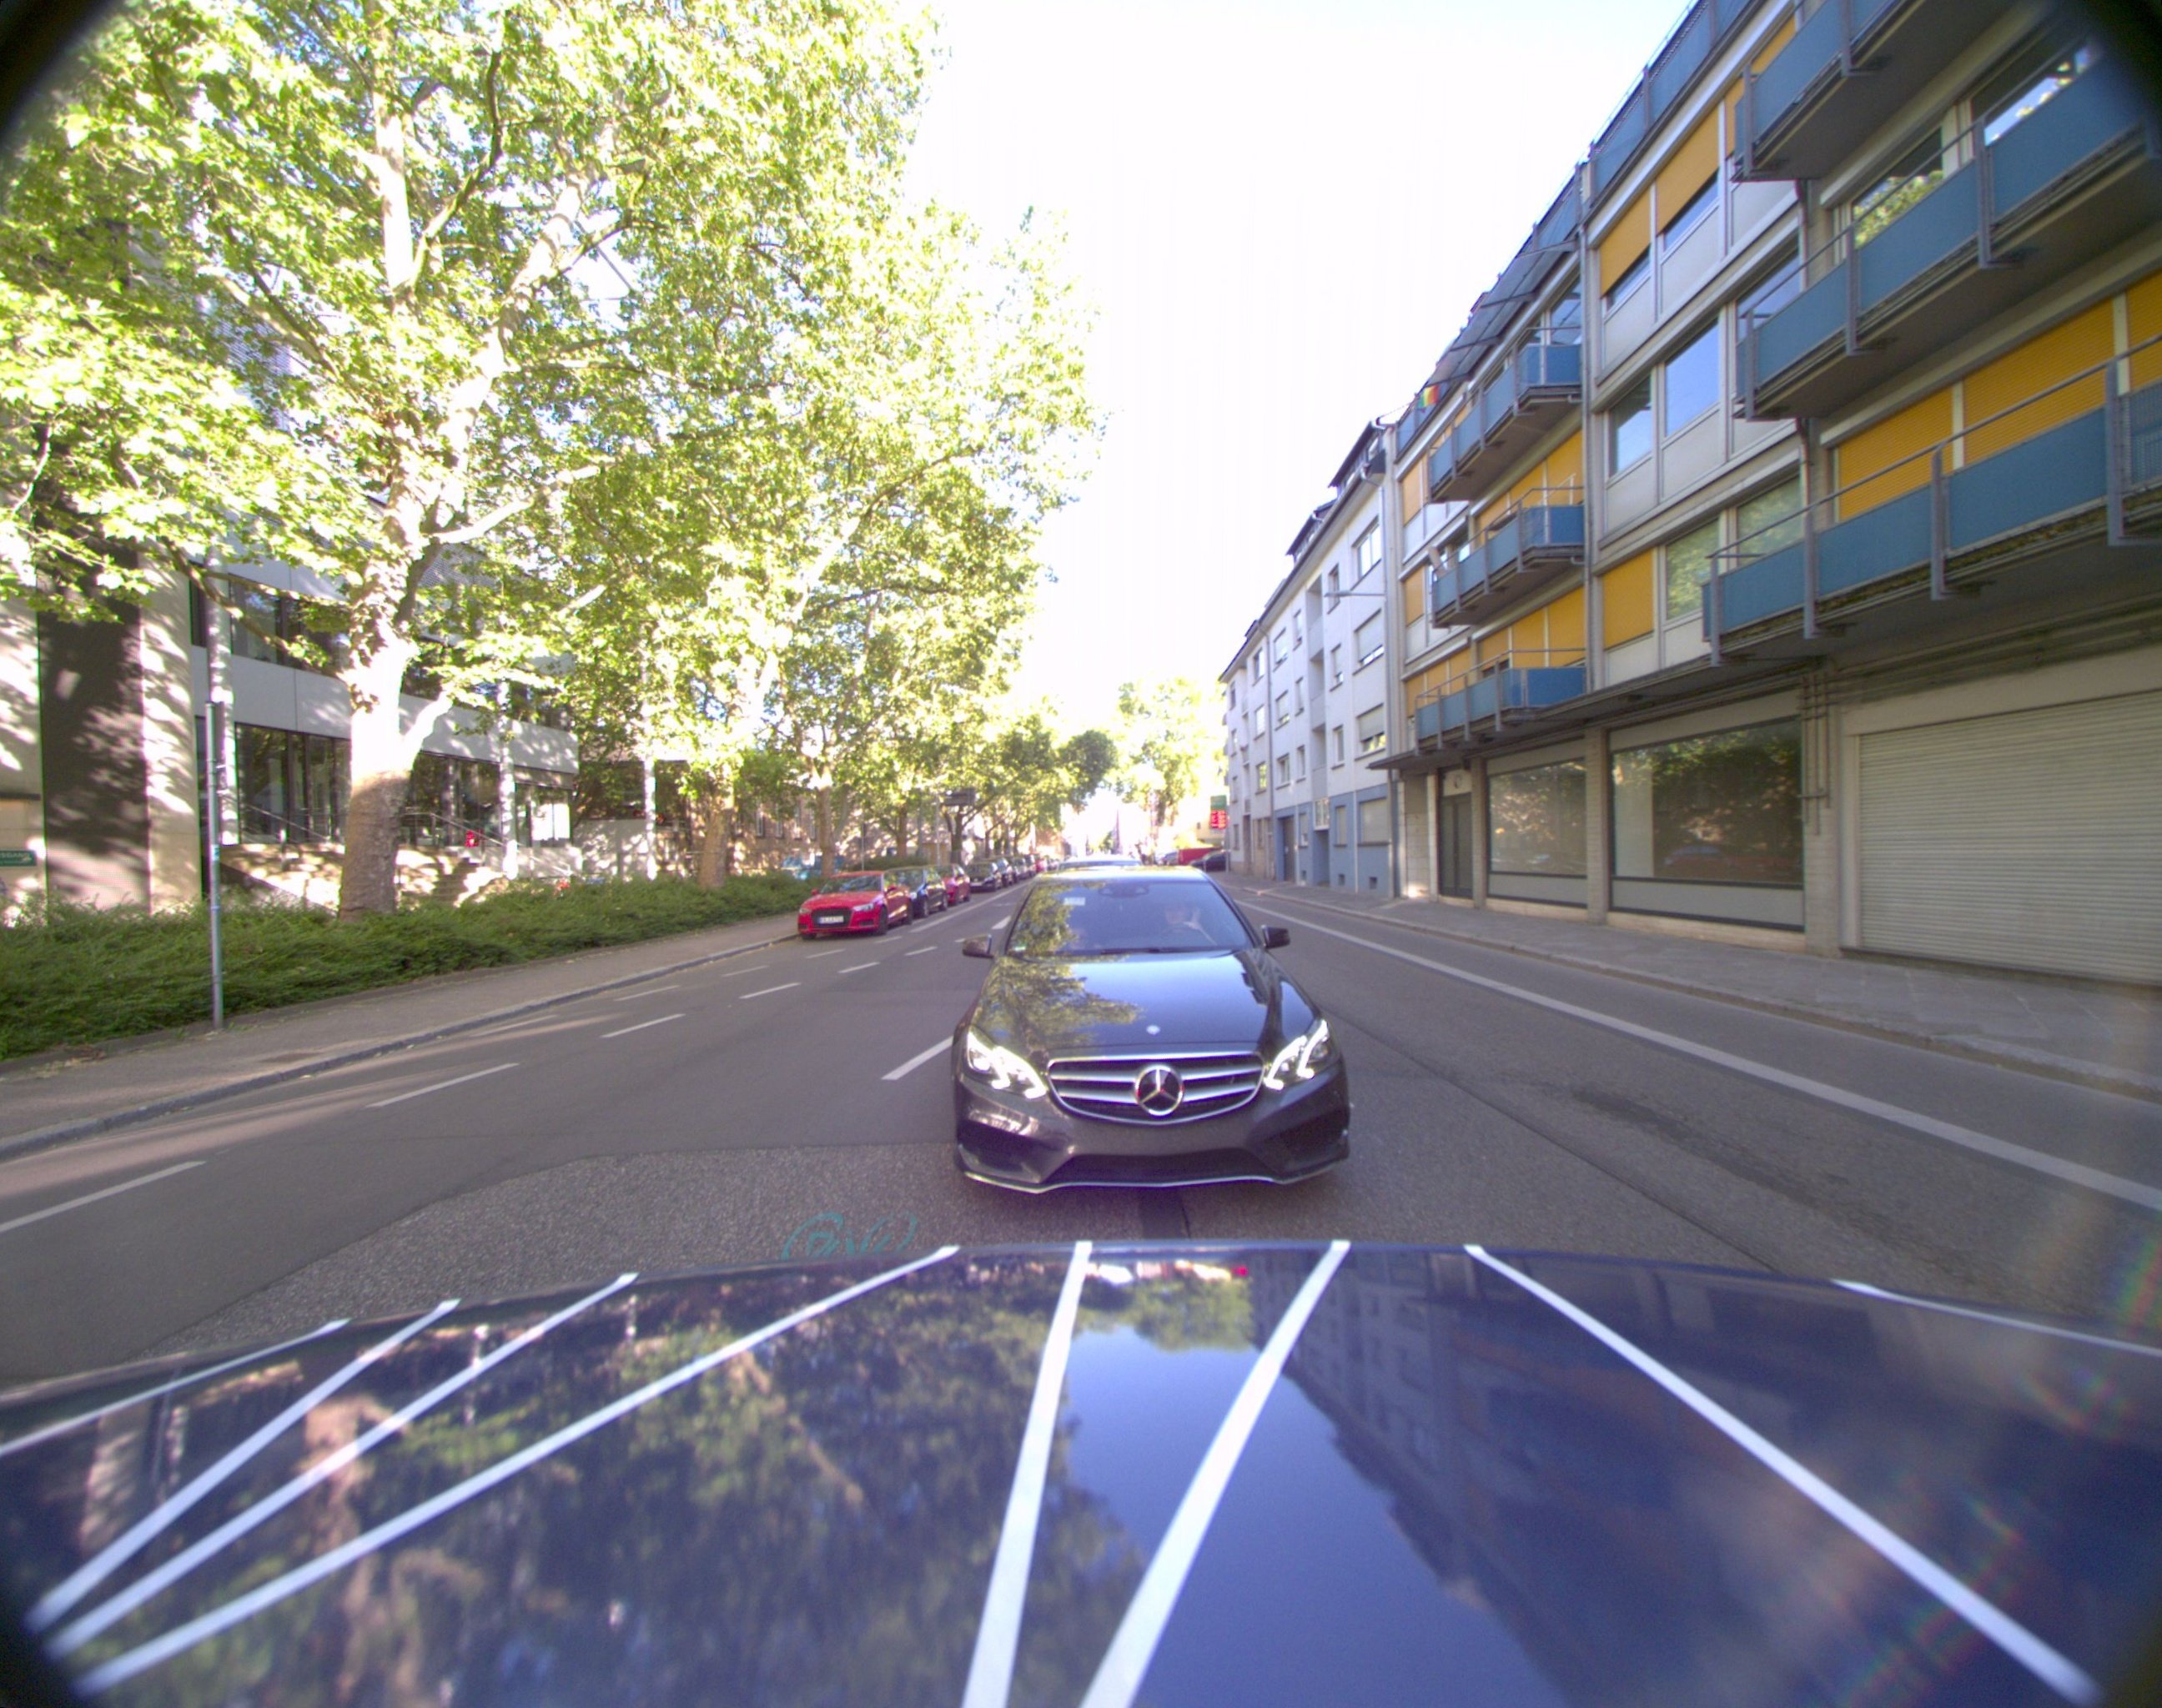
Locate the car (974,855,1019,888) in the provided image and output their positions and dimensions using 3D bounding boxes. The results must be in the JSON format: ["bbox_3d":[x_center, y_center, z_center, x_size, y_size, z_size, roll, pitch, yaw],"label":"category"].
[{"bbox_3d":[-4.620,0.908,42.195,1.866,1.658,4.481,-2,0,1],"label":"car"}]

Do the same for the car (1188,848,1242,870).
[{"bbox_3d":[10.717,0.379,61.180,3.996,1.543,2.000,-2,1,2],"label":"car"}]

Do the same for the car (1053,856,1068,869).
[{"bbox_3d":[-2.820,1.114,105.178,1.866,1.632,4.481,-2,0,1],"label":"car"}]

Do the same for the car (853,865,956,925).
[{"bbox_3d":[-5.043,1.125,22.369,1.866,1.442,4.481,-2,0,1],"label":"car"}]

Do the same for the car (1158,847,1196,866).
[{"bbox_3d":[10.738,0.244,84.967,3.996,1.936,2.000,-2,1,2],"label":"car"}]

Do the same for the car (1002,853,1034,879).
[{"bbox_3d":[-4.502,0.820,54.788,1.866,1.749,4.481,-2,0,1],"label":"car"}]

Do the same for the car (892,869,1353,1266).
[{"bbox_3d":[0.204,0.934,5.395,1.866,1.492,4.481,-2,0,1],"label":"car"}]

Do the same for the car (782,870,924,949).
[{"bbox_3d":[-5.104,1.178,17.719,1.866,1.442,4.481,-2,0,1],"label":"car"}]

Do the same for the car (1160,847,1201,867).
[{"bbox_3d":[10.462,0.310,79.985,3.996,1.936,2.000,-2,1,2],"label":"car"}]

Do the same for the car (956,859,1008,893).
[{"bbox_3d":[-4.755,1.026,37.160,1.866,1.442,4.481,-2,0,1],"label":"car"}]

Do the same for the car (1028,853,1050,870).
[{"bbox_3d":[-4.197,0.706,76.266,1.866,1.632,4.481,-2,0,1],"label":"car"}]

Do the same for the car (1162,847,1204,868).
[{"bbox_3d":[10.334,0.347,77.134,3.996,1.936,2.000,-2,1,2],"label":"car"}]

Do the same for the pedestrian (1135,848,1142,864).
[{"bbox_3d":[7.766,0.267,103.052,0.735,2.002,1.046,-2,1,0],"label":"pedestrian"}]

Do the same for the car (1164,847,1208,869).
[{"bbox_3d":[10.249,0.379,74.492,3.996,1.936,2.000,-2,1,2],"label":"car"}]

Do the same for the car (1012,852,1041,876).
[{"bbox_3d":[-4.244,0.757,59.744,1.866,1.749,4.481,-2,0,1],"label":"car"}]

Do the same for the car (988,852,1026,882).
[{"bbox_3d":[-4.632,0.785,48.121,1.866,1.749,4.481,-2,0,1],"label":"car"}]

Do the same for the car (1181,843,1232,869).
[{"bbox_3d":[10.550,0.157,64.011,3.996,1.936,2.000,-2,1,2],"label":"car"}]

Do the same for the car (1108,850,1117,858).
[{"bbox_3d":[6.858,0.045,167.619,1.866,1.632,4.481,-2,0,1],"label":"car"}]

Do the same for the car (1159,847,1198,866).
[{"bbox_3d":[10.592,0.277,82.473,3.996,1.936,2.000,-2,1,2],"label":"car"}]

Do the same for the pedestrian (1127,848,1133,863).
[{"bbox_3d":[6.626,0.196,102.715,0.735,2.002,0.797,-2,1,1],"label":"pedestrian"}]

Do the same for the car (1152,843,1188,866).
[{"bbox_3d":[10.491,0.006,89.494,3.996,2.505,2.000,-2,1,2],"label":"car"}]

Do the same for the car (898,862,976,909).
[{"bbox_3d":[-5.087,1.066,27.413,1.866,1.442,4.481,-2,0,1],"label":"car"}]

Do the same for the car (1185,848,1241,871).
[{"bbox_3d":[10.176,0.425,58.858,3.996,1.543,2.000,-2,1,2],"label":"car"}]

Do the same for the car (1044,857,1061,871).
[{"bbox_3d":[-3.652,1.239,96.771,1.866,1.632,4.481,-2,0,1],"label":"car"}]

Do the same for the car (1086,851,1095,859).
[{"bbox_3d":[1.987,0.273,165.201,1.866,1.632,4.481,-2,0,1],"label":"car"}]

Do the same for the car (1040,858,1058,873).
[{"bbox_3d":[-3.763,1.323,89.972,1.866,1.632,4.481,-2,0,1],"label":"car"}]

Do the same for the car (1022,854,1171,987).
[{"bbox_3d":[0.224,0.859,11.918,1.866,1.630,4.303,-2,0,1],"label":"car"}]
